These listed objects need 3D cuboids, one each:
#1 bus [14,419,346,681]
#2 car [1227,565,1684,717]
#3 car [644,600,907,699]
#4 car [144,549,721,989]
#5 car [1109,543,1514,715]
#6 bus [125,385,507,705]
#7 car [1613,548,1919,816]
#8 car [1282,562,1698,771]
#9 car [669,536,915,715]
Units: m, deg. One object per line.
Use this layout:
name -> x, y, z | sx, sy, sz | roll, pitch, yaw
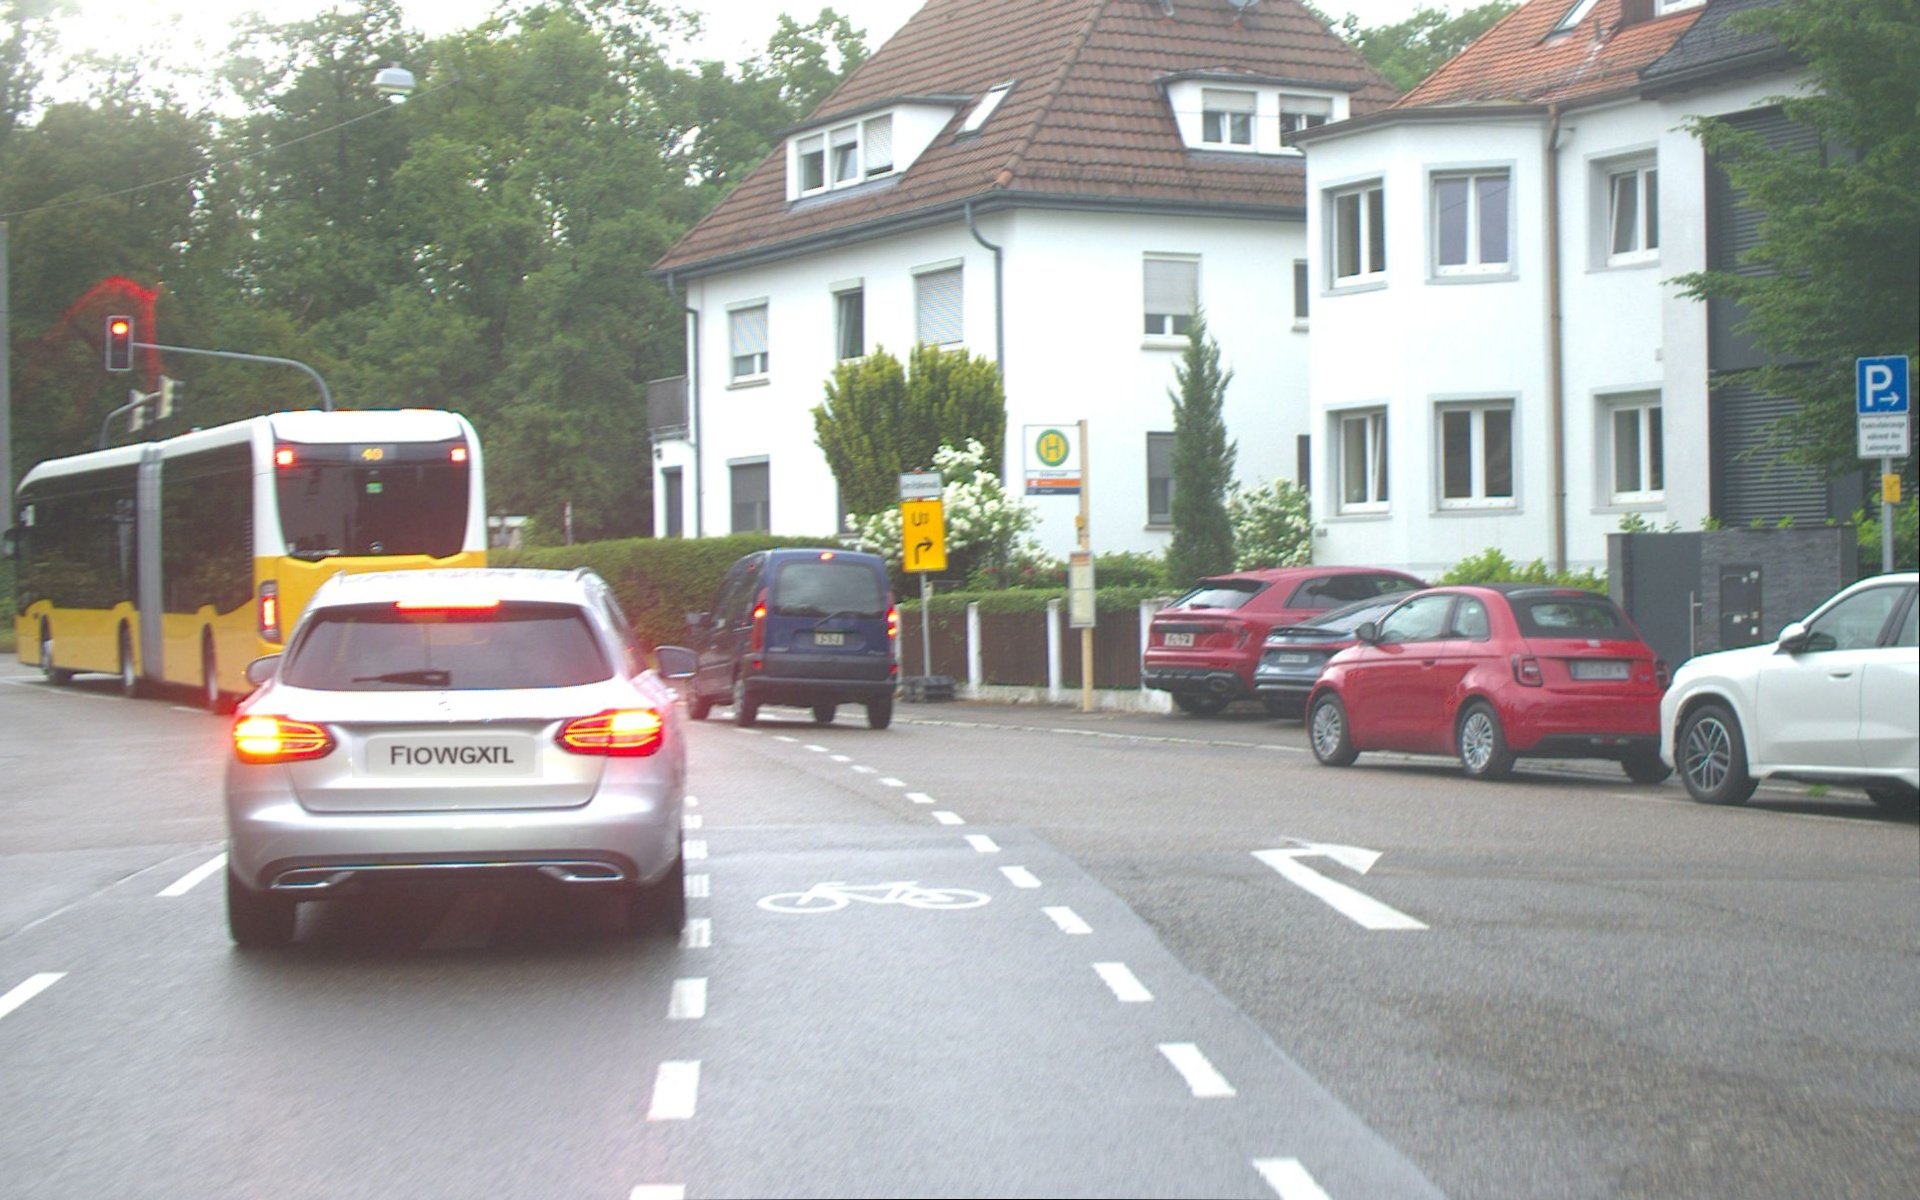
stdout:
bus -> -11.308, -0.718, 49.107 | 2.899, 3.387, 9.042 | -1, 1, -24
car -> 5.273, 0.389, 36.453 | 4.547, 1.411, 2.000 | -2, 2, -31
car -> -2.864, 0.746, 53.418 | 3.742, 1.383, 1.617 | -1, 3, -26
car -> -2.100, 0.557, 14.310 | 1.993, 1.474, 4.487 | -1, 1, -7
car -> 3.930, 0.275, 38.337 | 4.073, 1.744, 2.000 | -2, 2, -31
bus -> -7.847, -0.648, 40.868 | 2.676, 3.387, 8.682 | -1, 1, -23
car -> 6.433, 0.516, 22.556 | 1.744, 1.667, 4.648 | 1, 0, -26
car -> 4.147, 0.490, 27.398 | 1.611, 1.532, 3.541 | 1, 0, -23
car -> -1.849, 0.261, 36.622 | 1.808, 1.791, 4.001 | 0, 0, -15
